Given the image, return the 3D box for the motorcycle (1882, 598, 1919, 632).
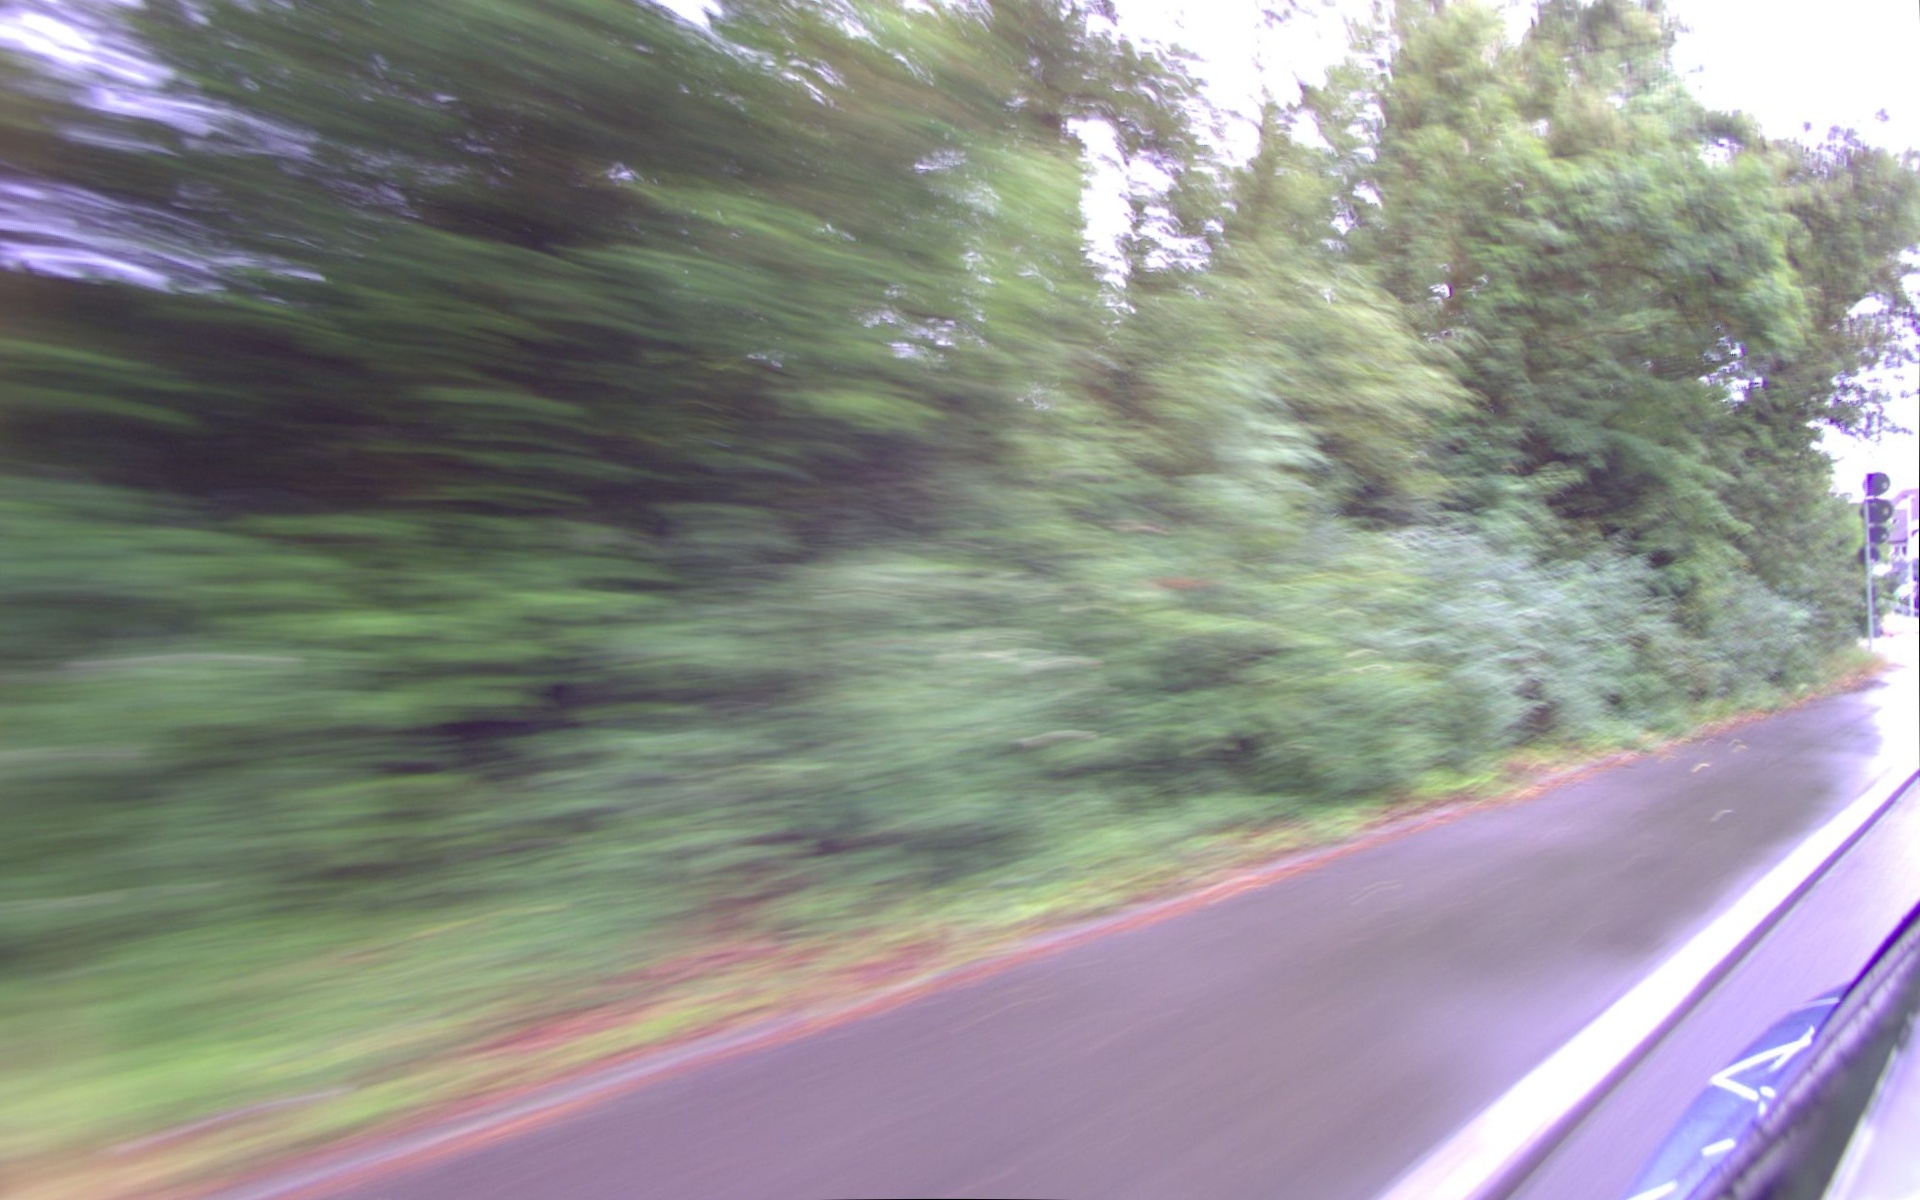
[{"bbox_3d":[37.735,0.595,40.552,1.506,1.305,0.592,0,-1,-23],"label":"motorcycle"}]
